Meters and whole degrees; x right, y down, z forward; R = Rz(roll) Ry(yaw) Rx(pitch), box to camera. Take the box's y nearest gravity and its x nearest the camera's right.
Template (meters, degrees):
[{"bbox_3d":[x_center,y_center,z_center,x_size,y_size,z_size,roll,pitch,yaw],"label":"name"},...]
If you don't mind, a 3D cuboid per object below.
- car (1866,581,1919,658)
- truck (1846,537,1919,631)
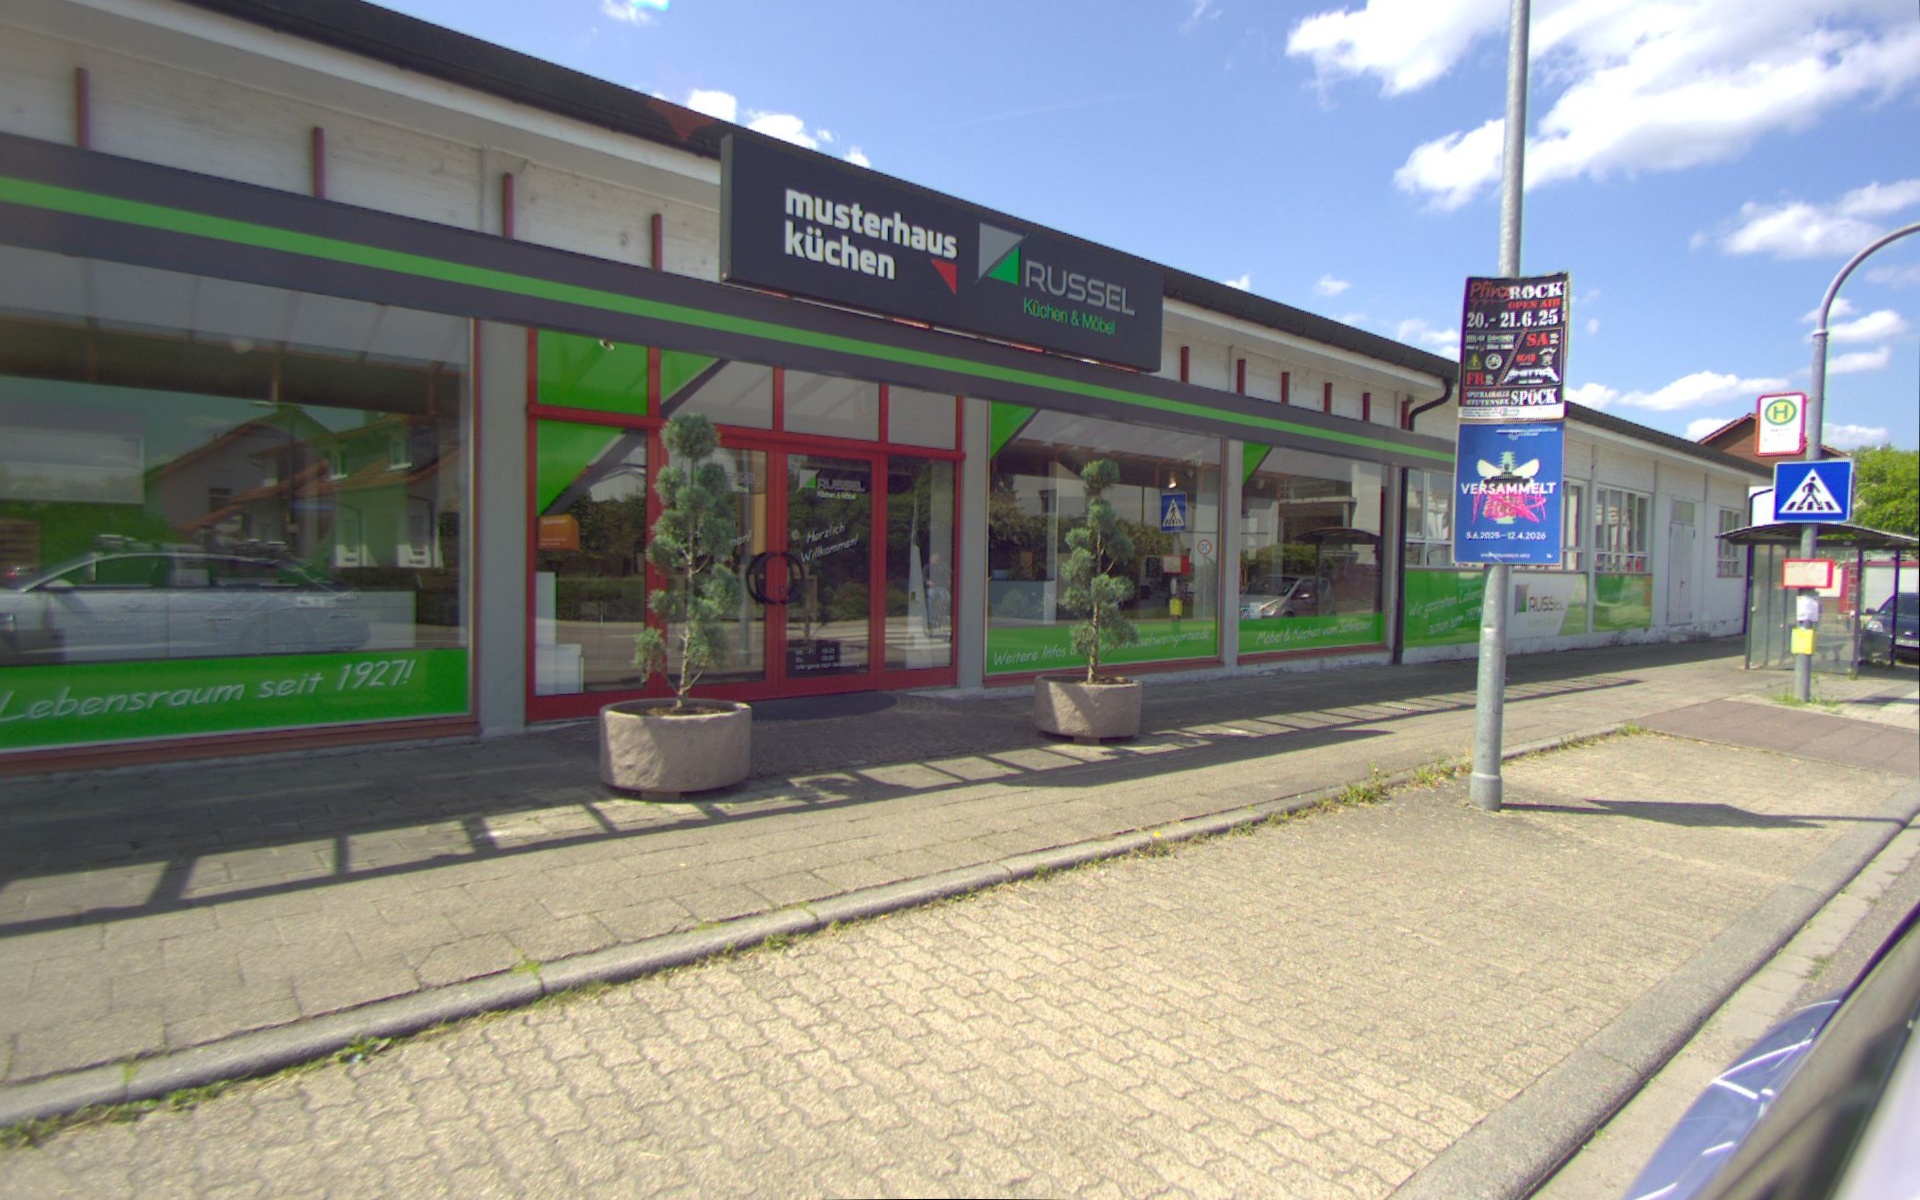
[{"bbox_3d":[20.904,0.402,21.671,3.694,1.510,1.729,0,4,-41],"label":"car"},{"bbox_3d":[30.748,-0.528,32.844,2.574,2.795,6.234,5,4,44],"label":"truck"}]
